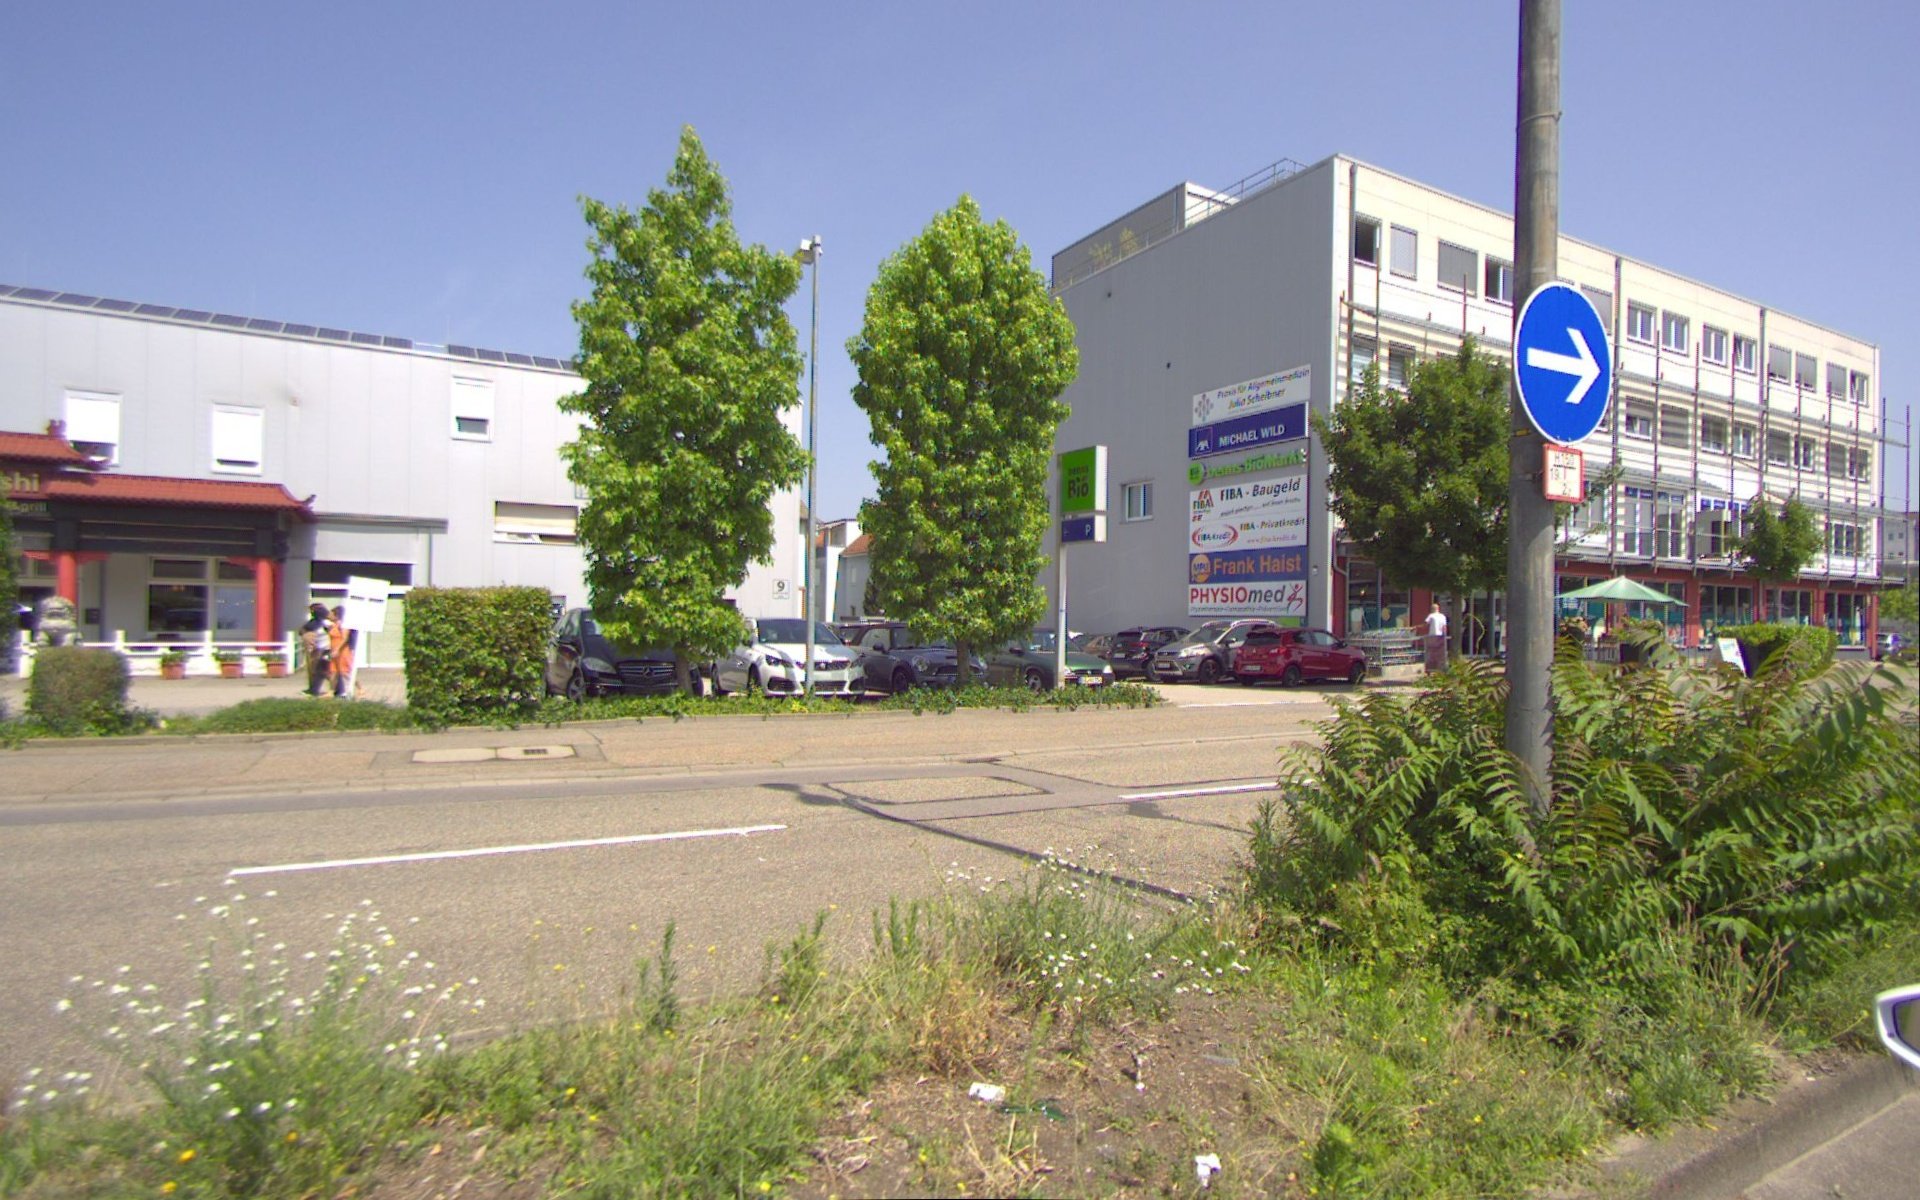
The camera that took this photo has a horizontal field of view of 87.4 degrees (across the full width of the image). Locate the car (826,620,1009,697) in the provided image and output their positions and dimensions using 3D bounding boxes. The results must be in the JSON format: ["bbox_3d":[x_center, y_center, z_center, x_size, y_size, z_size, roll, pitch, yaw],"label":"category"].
[{"bbox_3d":[-0.892,1.040,18.559,1.838,1.246,3.821,1,-3,-30],"label":"car"}]

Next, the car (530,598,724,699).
[{"bbox_3d":[-5.350,0.744,15.791,2.020,1.360,4.127,1,-3,-32],"label":"car"}]

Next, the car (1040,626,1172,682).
[{"bbox_3d":[4.676,1.693,32.045,3.953,1.661,1.768,2,-2,-30],"label":"car"}]

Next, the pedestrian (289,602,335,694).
[{"bbox_3d":[-12.111,0.898,18.790,0.618,1.678,0.543,3,-1,-31],"label":"pedestrian"}]

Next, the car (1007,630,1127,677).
[{"bbox_3d":[3.738,1.856,34.958,3.953,1.554,1.691,2,-3,-30],"label":"car"}]

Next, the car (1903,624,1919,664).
[{"bbox_3d":[38.754,1.818,39.143,3.992,1.514,1.672,4,-1,-28],"label":"car"}]

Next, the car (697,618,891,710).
[{"bbox_3d":[-2.974,1.045,17.229,1.957,1.366,4.204,1,-3,-30],"label":"car"}]

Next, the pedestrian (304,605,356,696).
[{"bbox_3d":[-11.415,0.908,18.210,0.695,1.599,0.577,3,-1,-31],"label":"pedestrian"}]

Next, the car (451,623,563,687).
[{"bbox_3d":[-11.640,1.353,25.678,1.944,1.487,3.946,2,-2,-34],"label":"car"}]

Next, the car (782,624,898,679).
[{"bbox_3d":[-3.618,1.487,29.874,1.749,1.479,3.810,2,-2,-37],"label":"car"}]

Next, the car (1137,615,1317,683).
[{"bbox_3d":[7.417,1.350,27.750,5.106,1.757,1.751,1,-3,-31],"label":"car"}]

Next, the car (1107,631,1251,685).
[{"bbox_3d":[6.420,1.677,29.377,3.951,1.484,1.732,1,-4,-29],"label":"car"}]

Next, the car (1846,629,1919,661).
[{"bbox_3d":[49.068,2.390,53.381,3.952,1.567,1.762,3,-2,-29],"label":"car"}]

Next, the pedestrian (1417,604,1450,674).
[{"bbox_3d":[13.089,1.074,27.791,0.492,1.891,0.672,1,-1,-29],"label":"pedestrian"}]

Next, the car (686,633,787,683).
[{"bbox_3d":[-6.552,1.632,29.170,1.838,1.302,3.821,1,-2,-29],"label":"car"}]

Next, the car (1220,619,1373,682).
[{"bbox_3d":[8.595,1.280,25.621,3.754,1.486,1.651,1,-3,-31],"label":"car"}]

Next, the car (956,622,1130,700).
[{"bbox_3d":[1.537,1.165,19.846,1.758,1.382,3.643,1,-2,-29],"label":"car"}]

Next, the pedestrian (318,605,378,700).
[{"bbox_3d":[-10.712,0.923,17.602,0.816,1.605,0.638,3,-1,-31],"label":"pedestrian"}]
